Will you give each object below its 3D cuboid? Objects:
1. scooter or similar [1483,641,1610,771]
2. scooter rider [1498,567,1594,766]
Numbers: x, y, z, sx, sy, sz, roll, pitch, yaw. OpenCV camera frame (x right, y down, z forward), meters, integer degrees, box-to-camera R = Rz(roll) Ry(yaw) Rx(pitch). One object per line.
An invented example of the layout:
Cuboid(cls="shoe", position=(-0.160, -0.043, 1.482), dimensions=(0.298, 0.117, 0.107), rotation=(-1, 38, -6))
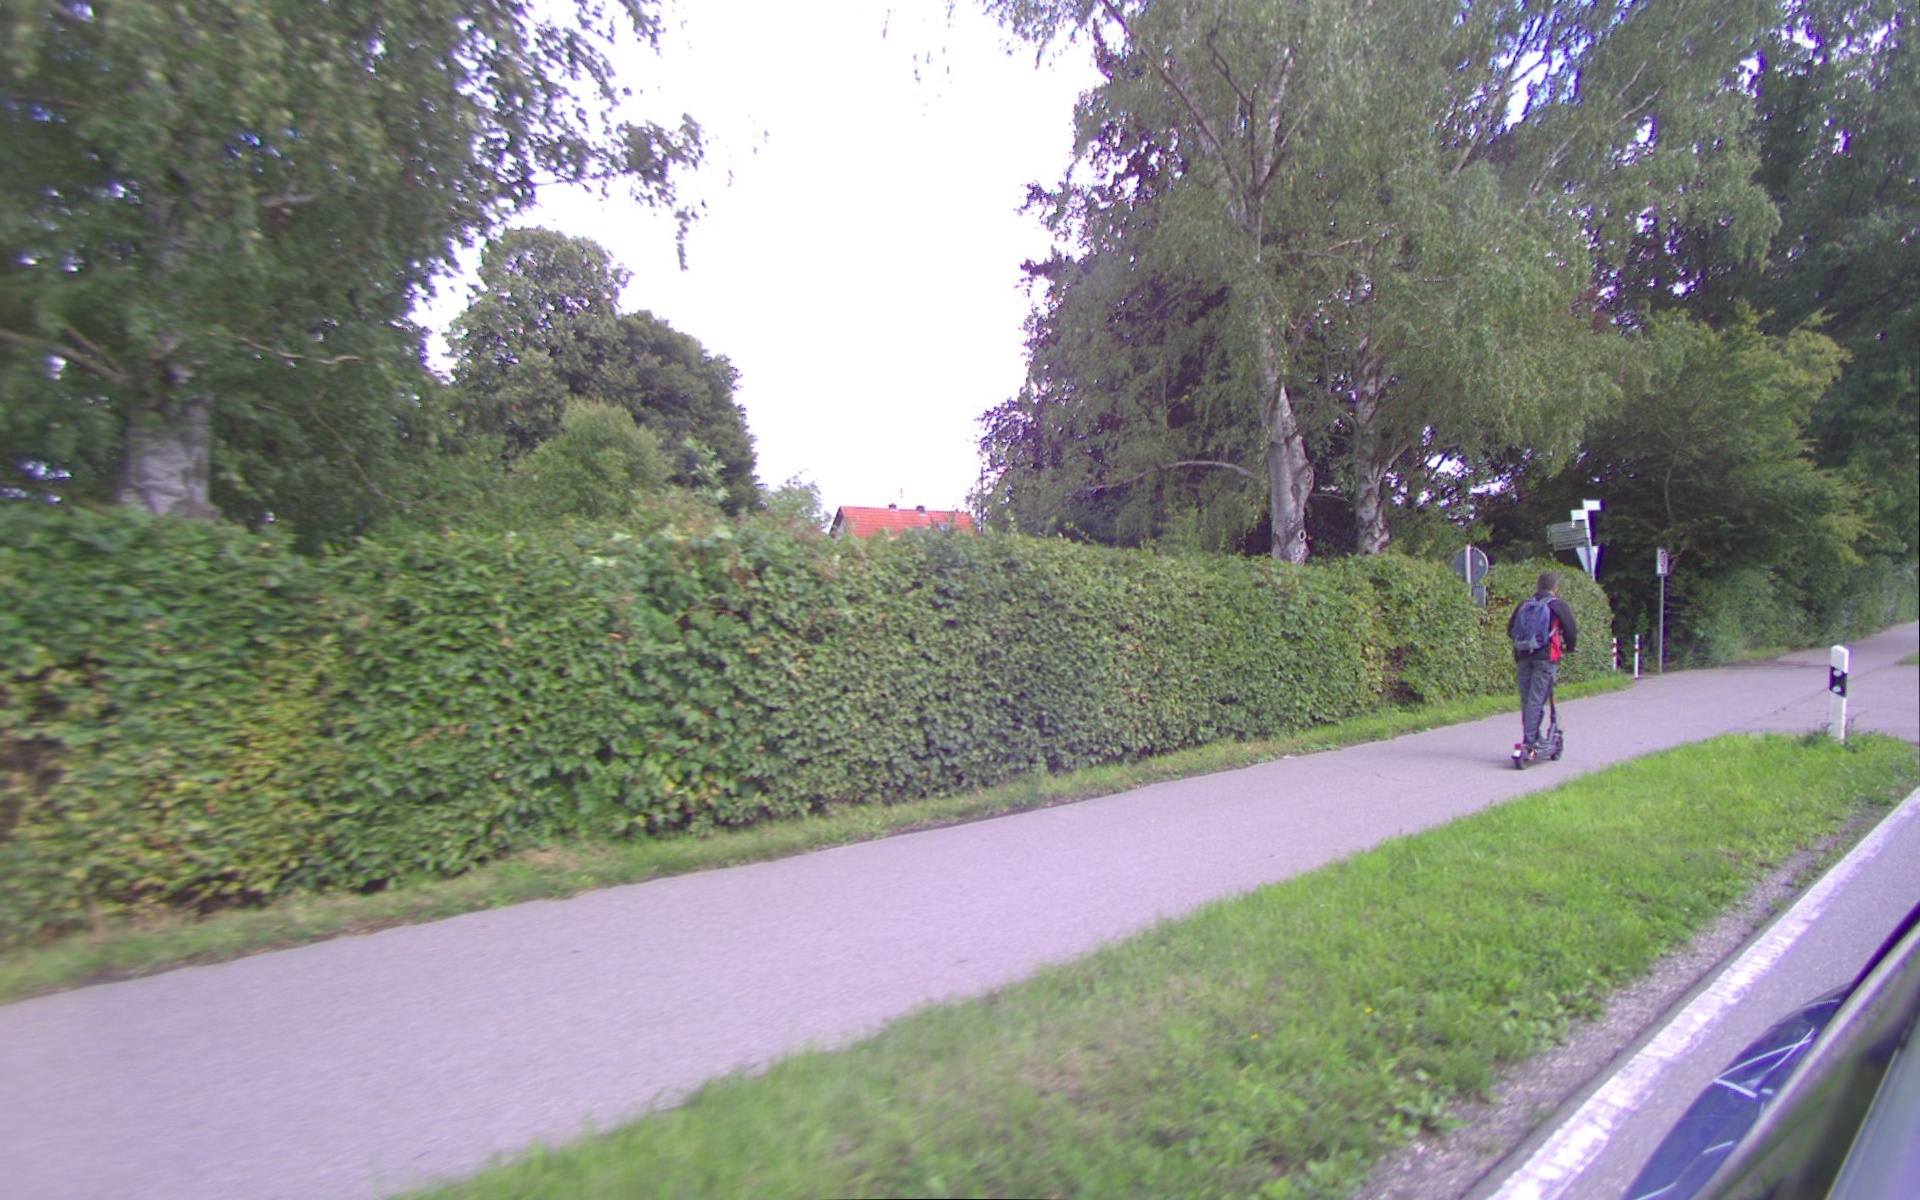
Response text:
Cuboid(cls="scooter or similar", position=(6.182, 1.065, 10.635), dimensions=(1.666, 1.179, 0.649), rotation=(-1, 0, -41))
Cuboid(cls="scooter rider", position=(6.152, 0.662, 10.623), dimensions=(0.772, 1.990, 0.643), rotation=(0, 0, -41))
